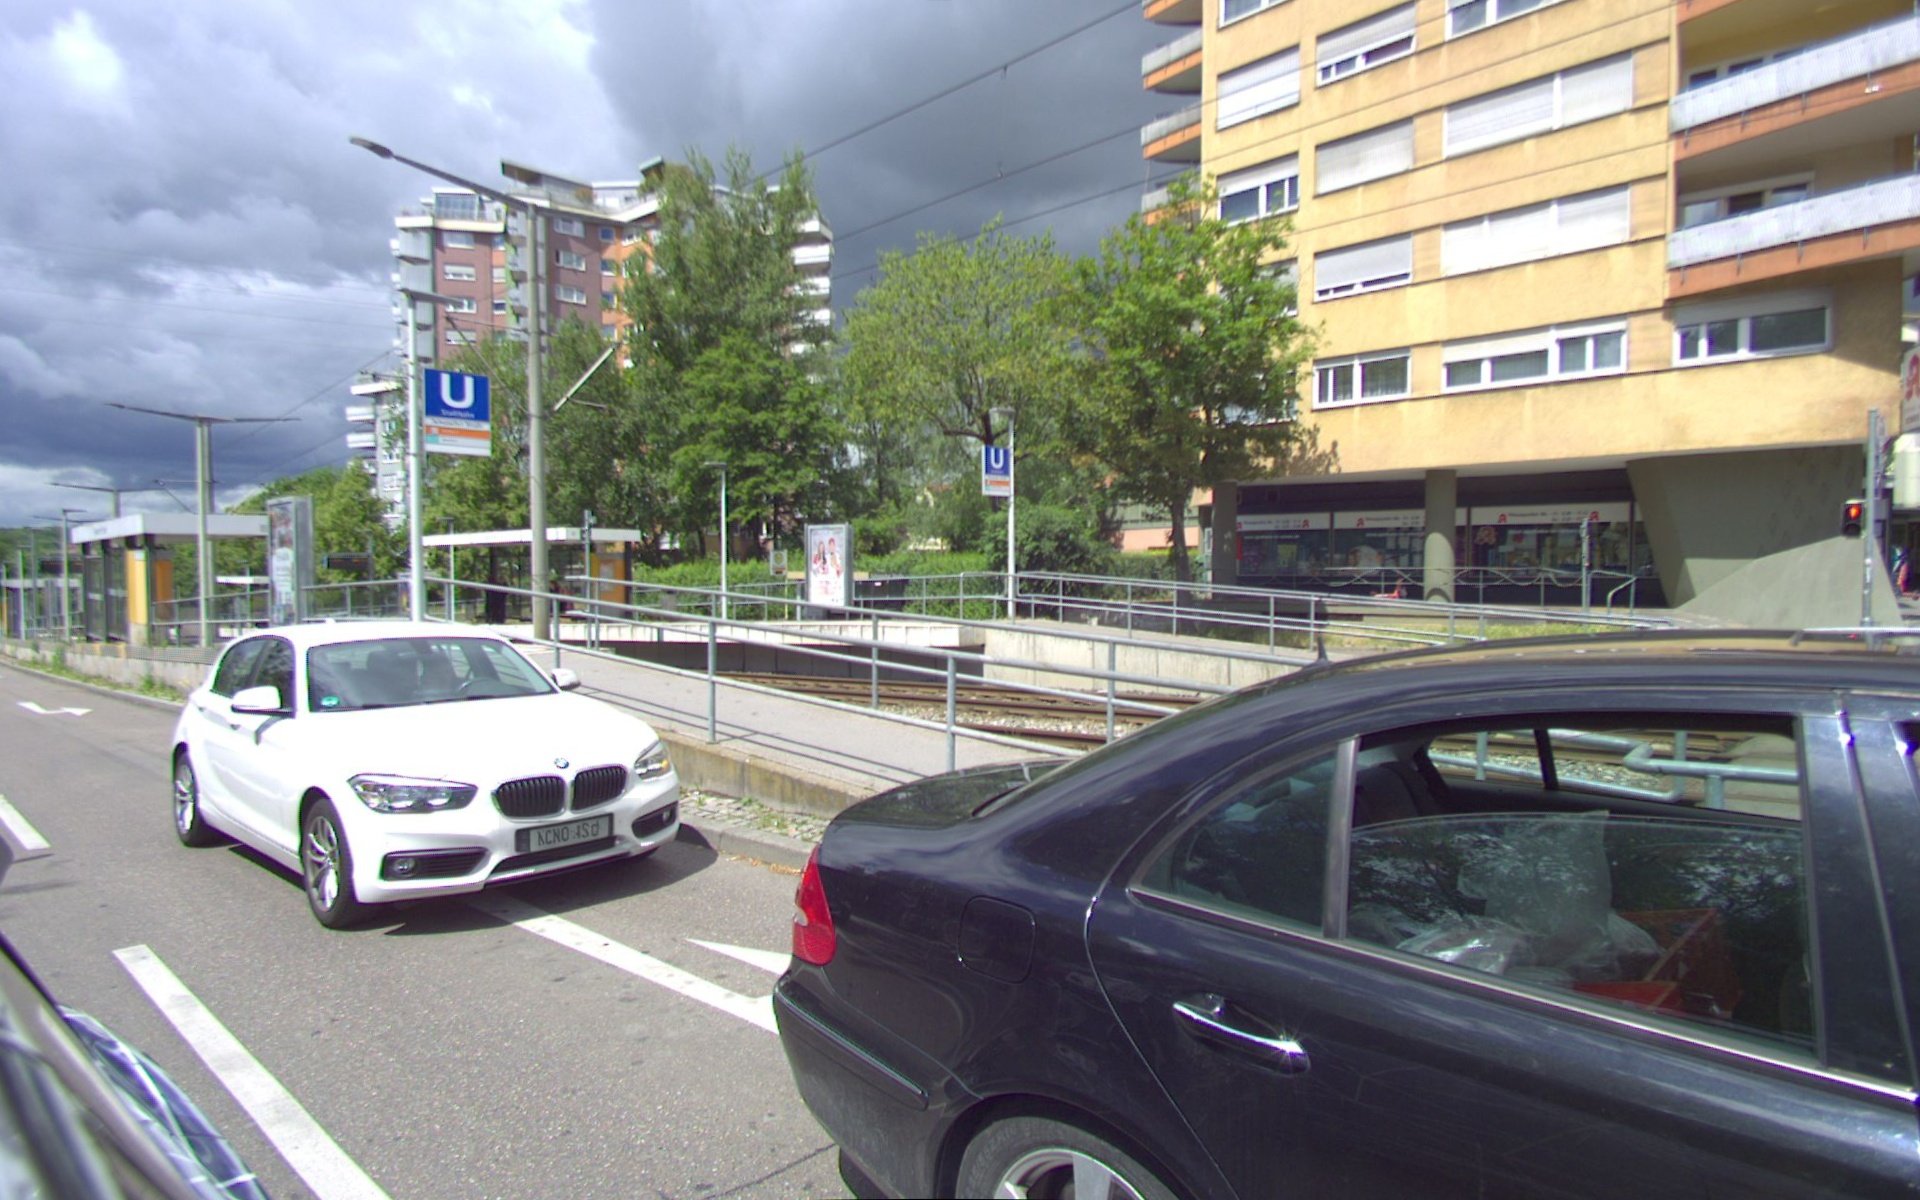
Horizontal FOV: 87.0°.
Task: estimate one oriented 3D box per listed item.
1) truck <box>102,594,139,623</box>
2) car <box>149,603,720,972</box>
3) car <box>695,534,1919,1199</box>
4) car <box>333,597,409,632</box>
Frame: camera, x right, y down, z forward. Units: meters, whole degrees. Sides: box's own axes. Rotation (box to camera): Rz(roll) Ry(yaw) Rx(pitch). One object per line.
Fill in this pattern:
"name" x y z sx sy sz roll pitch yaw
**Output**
"truck" -102.327 1.060 123.355 7.260 3.247 2.389 -2 -1 42
"car" -3.349 0.785 6.081 3.998 1.472 1.710 -1 0 41
"car" 1.680 0.661 1.398 4.542 1.472 1.710 -1 0 41
"car" -28.825 0.709 49.495 4.459 1.647 1.972 -1 -2 42
